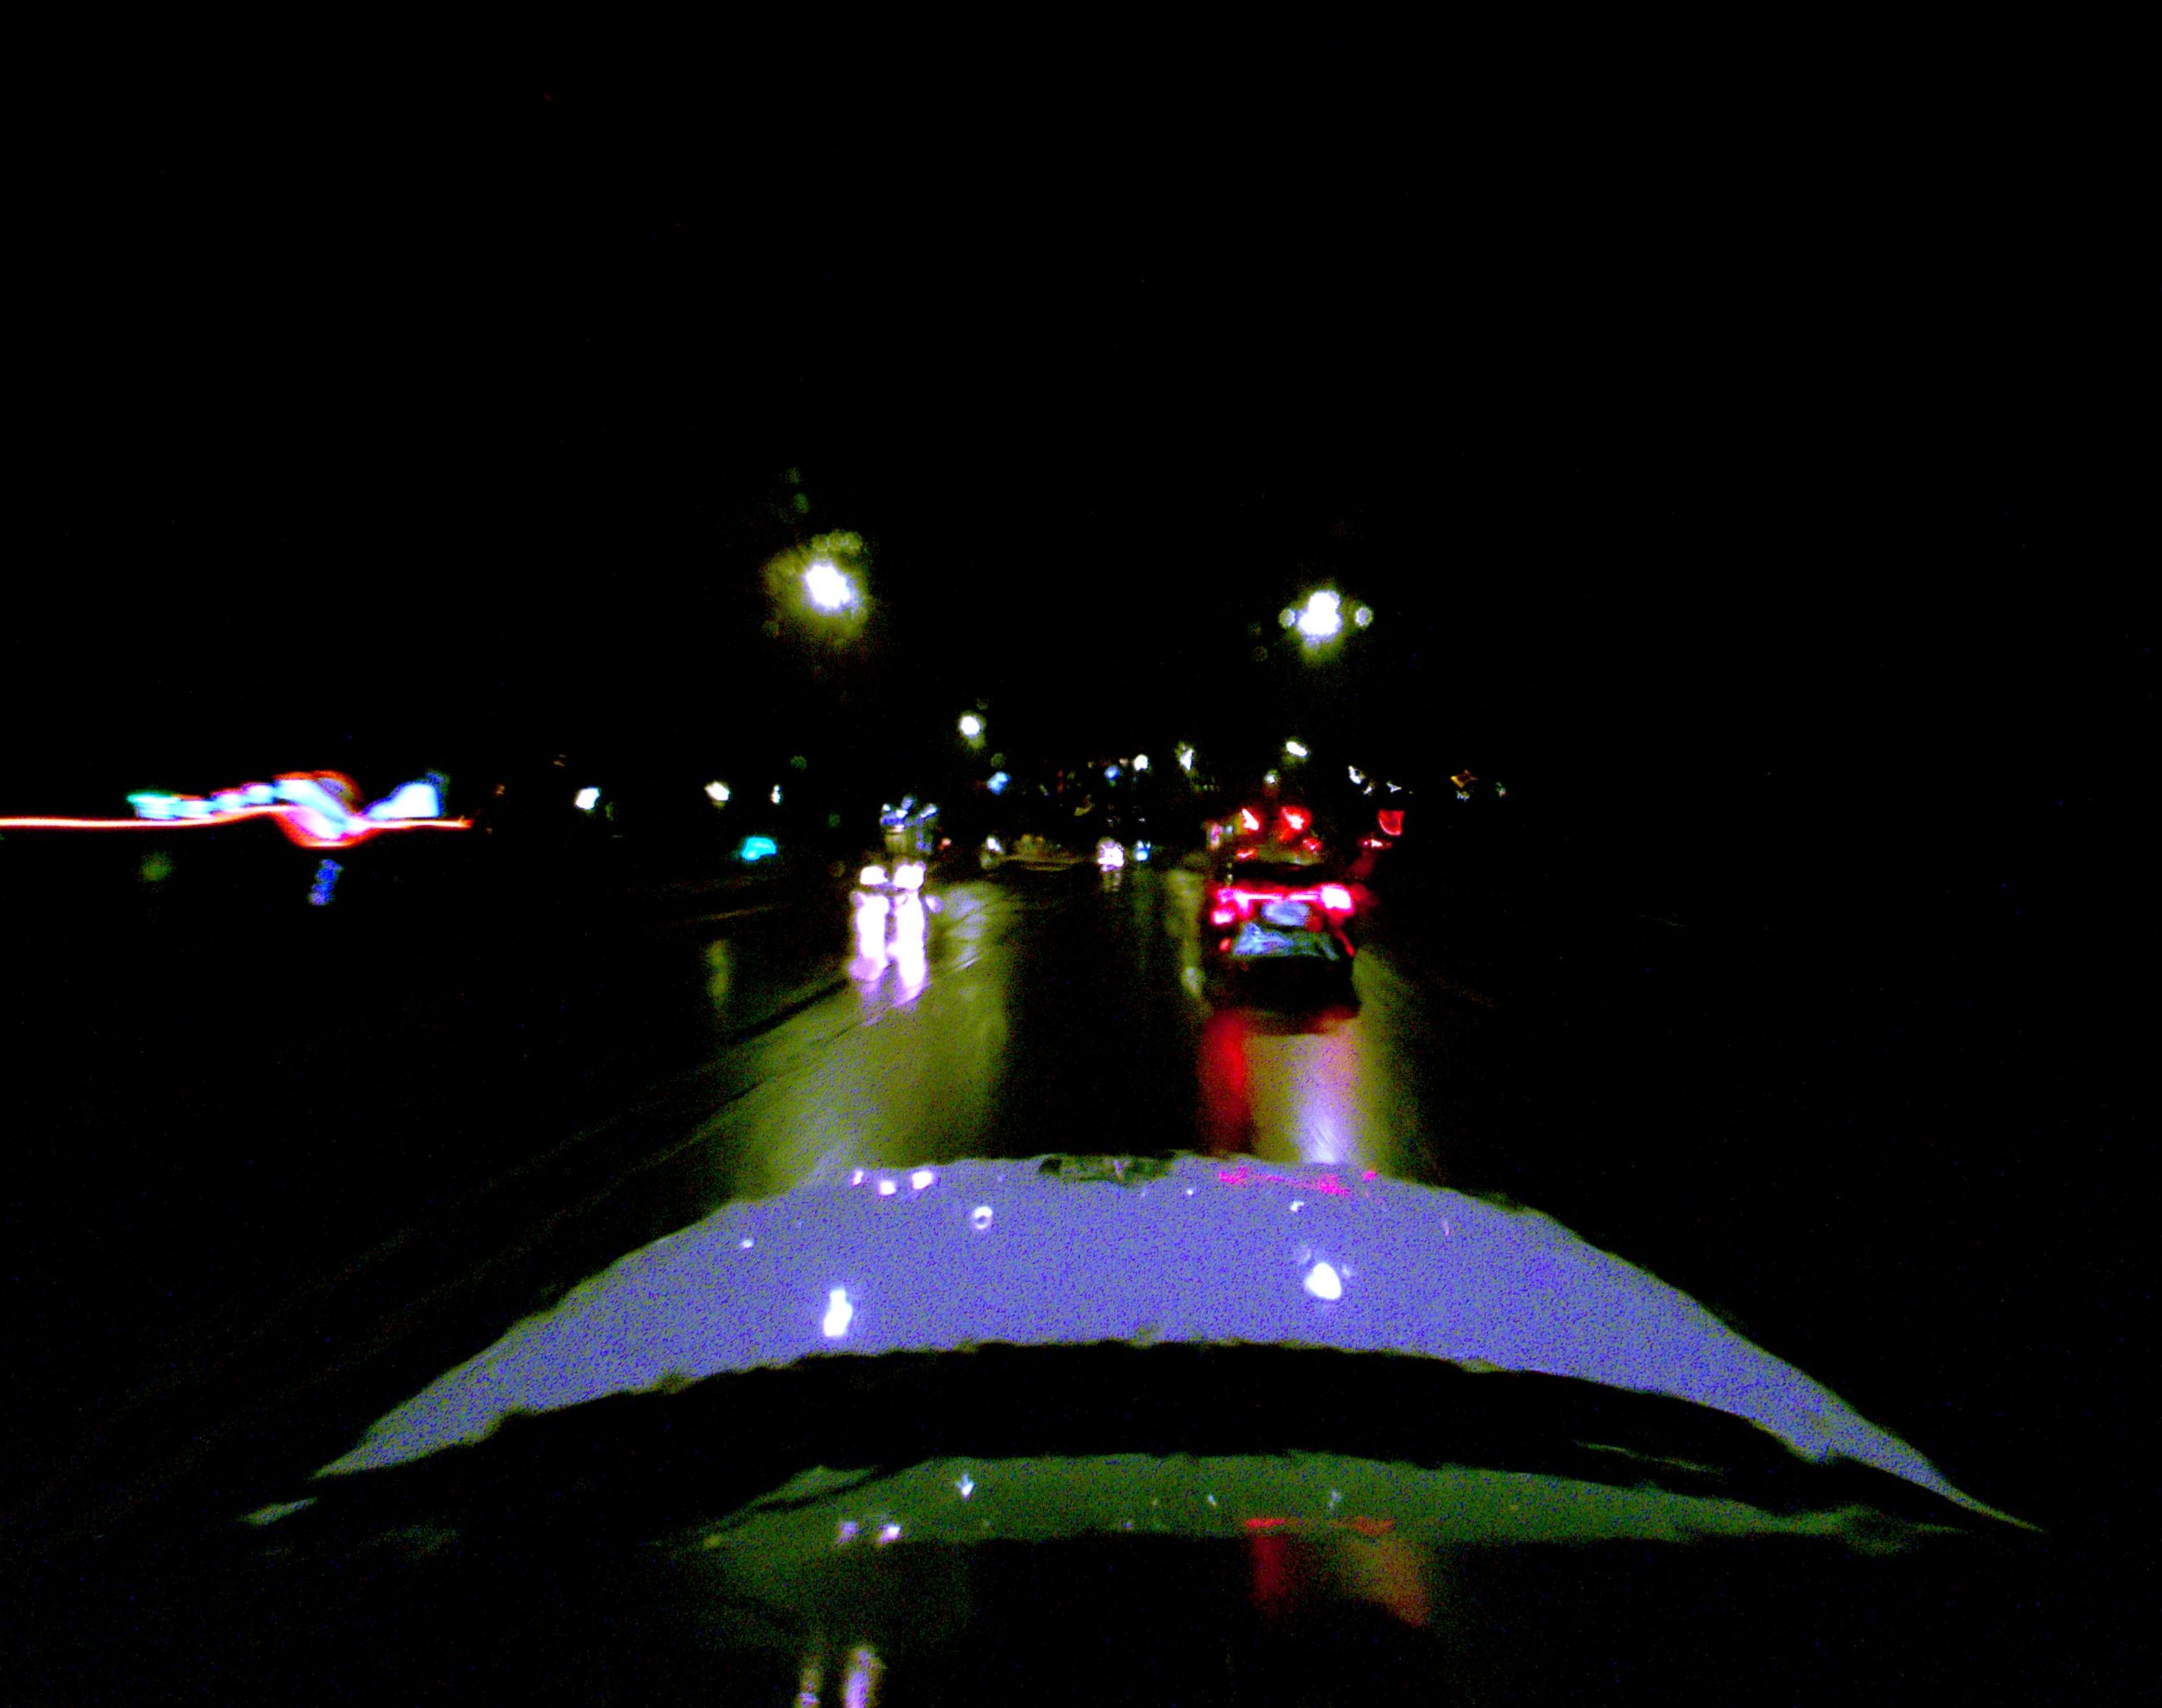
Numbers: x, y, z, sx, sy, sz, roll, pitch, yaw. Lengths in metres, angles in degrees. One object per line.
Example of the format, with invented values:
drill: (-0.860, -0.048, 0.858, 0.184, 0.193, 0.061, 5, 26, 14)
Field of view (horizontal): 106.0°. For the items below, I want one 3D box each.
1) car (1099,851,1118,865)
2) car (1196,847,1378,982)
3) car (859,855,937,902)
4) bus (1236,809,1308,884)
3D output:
car: (3.077, 0.474, 90.243, 1.756, 1.457, 3.960, 1, 0, 7)
car: (2.629, 0.702, 11.339, 1.983, 1.524, 4.008, -1, 0, 7)
car: (-6.342, 0.806, 28.635, 1.821, 1.503, 4.186, -1, 0, -1)
bus: (9.215, -0.334, 39.825, 3.023, 3.212, 9.080, 0, 0, 12)
